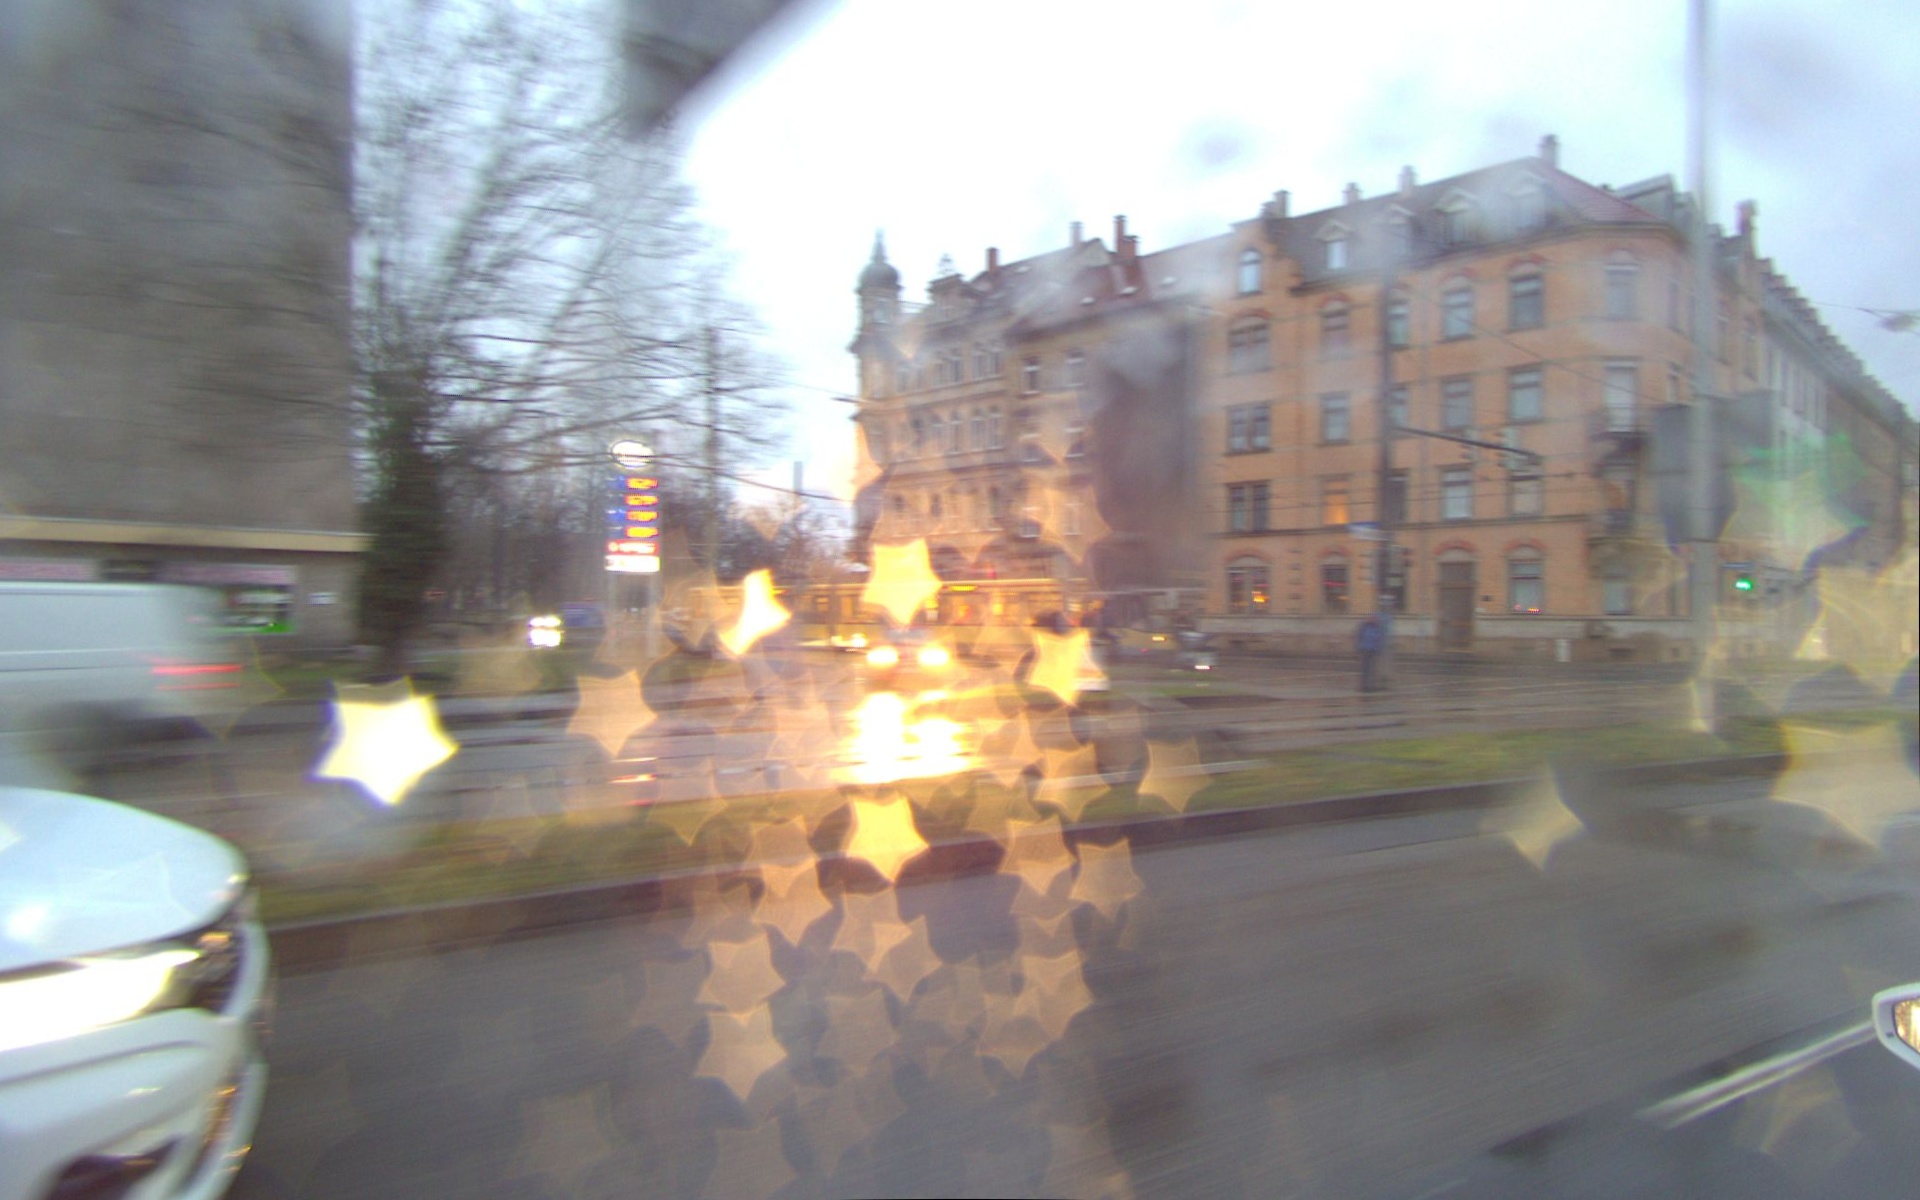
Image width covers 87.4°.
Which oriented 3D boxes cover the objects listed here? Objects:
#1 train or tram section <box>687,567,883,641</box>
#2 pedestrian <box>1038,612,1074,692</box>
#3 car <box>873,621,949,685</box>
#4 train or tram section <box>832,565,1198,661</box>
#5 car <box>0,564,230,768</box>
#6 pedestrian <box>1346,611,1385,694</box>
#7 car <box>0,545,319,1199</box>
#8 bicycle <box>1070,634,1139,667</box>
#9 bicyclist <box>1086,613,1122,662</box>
[{"bbox_3d":[-8.809,0.108,49.203,10.984,3.280,3.154,1,0,41],"label":"train or tram section"},{"bbox_3d":[2.216,1.182,23.203,0.618,1.816,0.530,1,0,37],"label":"pedestrian"},{"bbox_3d":[-1.203,1.307,26.033,1.616,1.469,3.852,1,-1,2],"label":"car"},{"bbox_3d":[1.472,0.311,40.369,16.065,3.231,3.154,1,0,41],"label":"train or tram section"},{"bbox_3d":[-10.380,0.664,9.953,1.973,1.971,4.825,-3,-3,44],"label":"car"},{"bbox_3d":[8.941,1.141,22.144,0.619,1.795,0.466,1,0,-20],"label":"pedestrian"},{"bbox_3d":[-3.300,0.668,1.476,3.957,1.507,1.617,0,-1,-33],"label":"car"},{"bbox_3d":[4.228,1.475,29.480,1.946,0.912,0.506,1,0,22],"label":"bicycle"},{"bbox_3d":[4.236,1.099,29.476,0.950,1.409,0.506,1,0,22],"label":"bicyclist"}]
